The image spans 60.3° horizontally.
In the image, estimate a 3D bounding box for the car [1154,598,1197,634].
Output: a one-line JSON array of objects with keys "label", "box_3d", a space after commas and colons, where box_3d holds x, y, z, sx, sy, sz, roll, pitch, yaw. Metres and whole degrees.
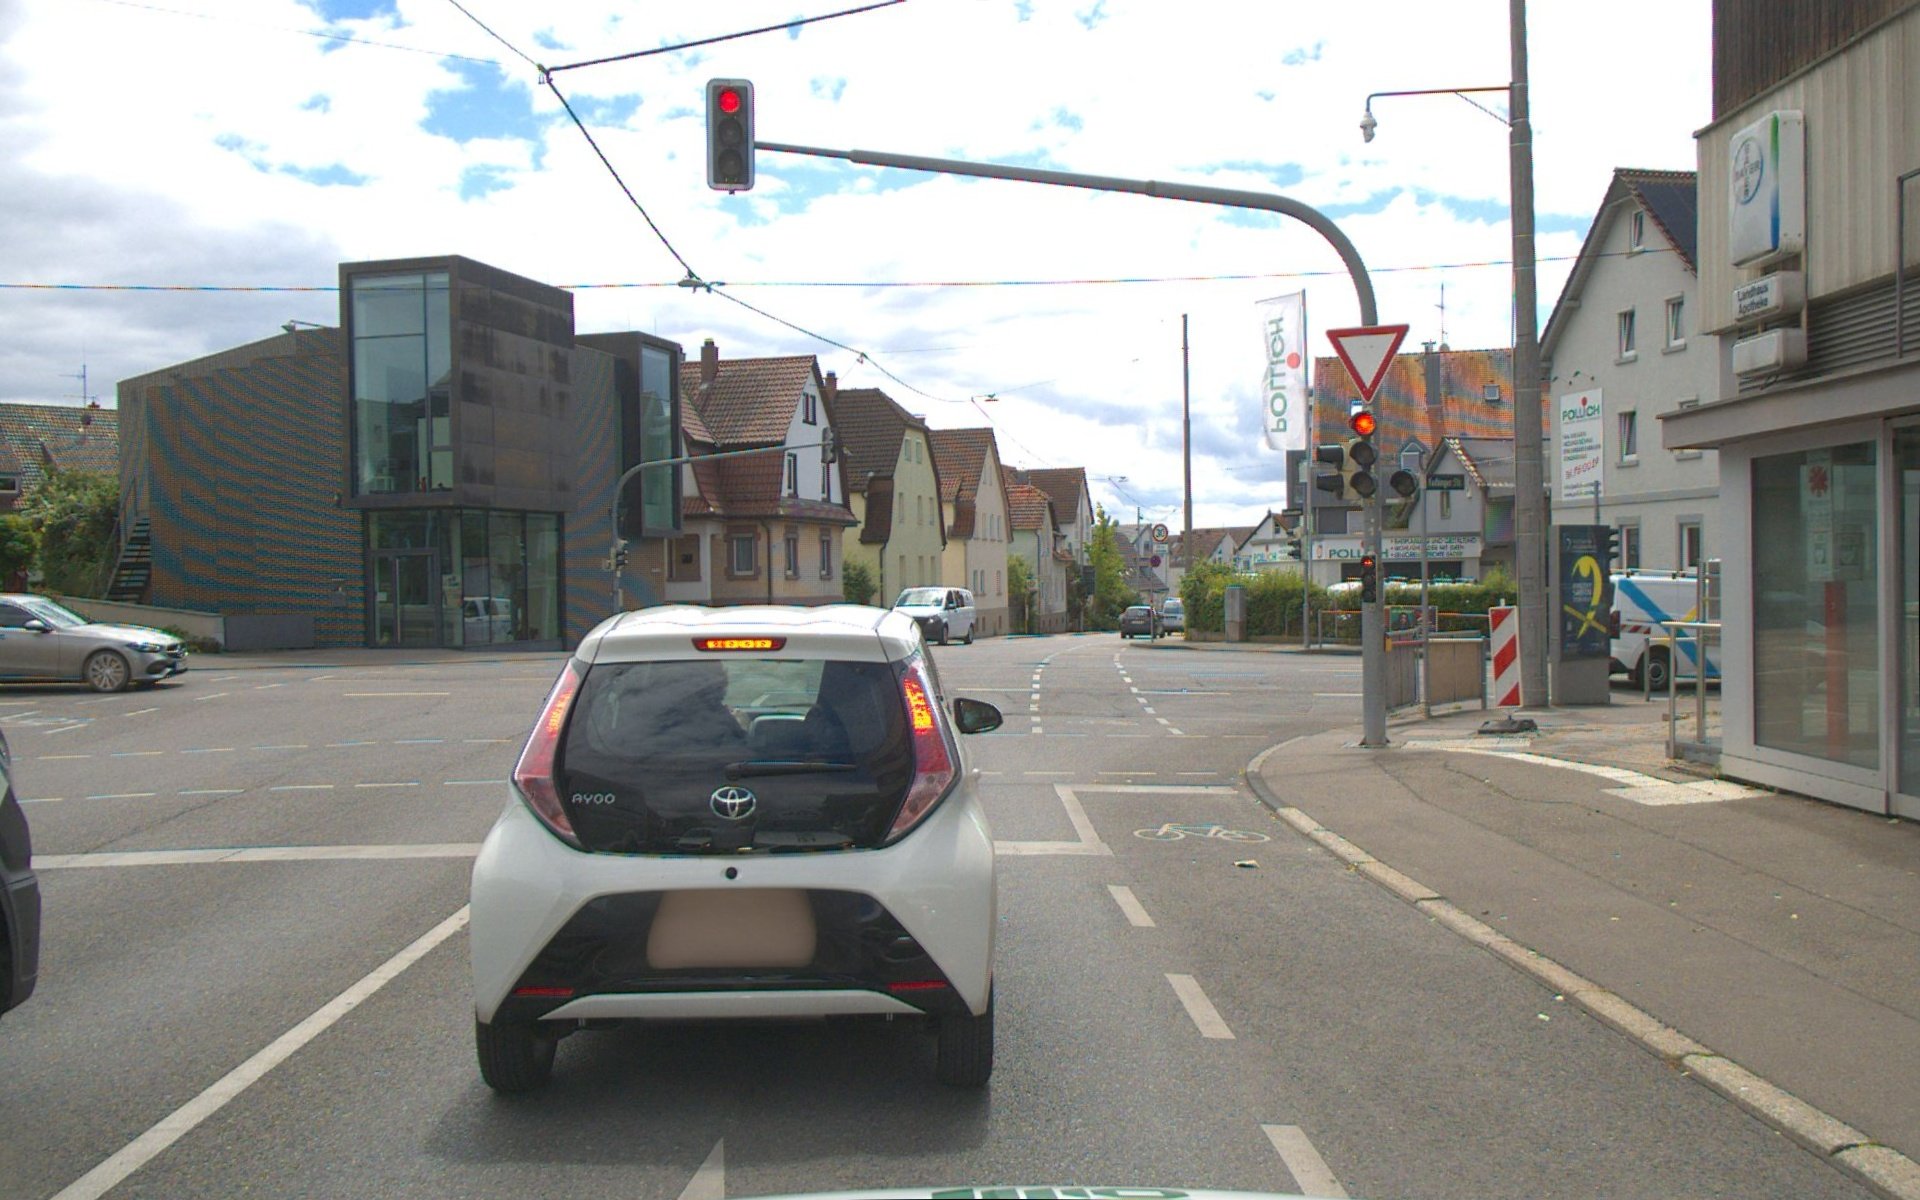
[{"label": "car", "box_3d": [11.511, 0.829, 88.171, 1.951, 1.881, 4.076, 1, 0, 12]}]

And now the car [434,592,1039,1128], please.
[{"label": "car", "box_3d": [-0.688, 0.728, 6.269, 1.663, 1.482, 3.297, 1, 0, -3]}]

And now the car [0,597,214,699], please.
[{"label": "car", "box_3d": [-14.206, 0.715, 25.647, 4.416, 1.481, 1.894, 1, 0, -8]}]

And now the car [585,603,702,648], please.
[{"label": "car", "box_3d": [-10.807, 0.855, 56.584, 3.537, 1.444, 1.693, 1, 0, 11]}]

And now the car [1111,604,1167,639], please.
[{"label": "car", "box_3d": [8.287, 0.978, 76.245, 1.951, 1.512, 4.003, 1, 0, 15]}]

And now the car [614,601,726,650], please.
[{"label": "car", "box_3d": [-10.269, 0.887, 58.715, 3.537, 1.633, 1.693, 1, 0, 11]}]

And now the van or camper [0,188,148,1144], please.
[{"label": "van or camper", "box_3d": [-3.560, 0.171, 2.378, 1.984, 2.625, 5.919, -2, -1, -2]}]

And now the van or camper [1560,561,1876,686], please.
[{"label": "van or camper", "box_3d": [13.849, 0.434, 30.318, 5.024, 2.113, 1.995, 1, 0, -10]}]

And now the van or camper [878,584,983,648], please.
[{"label": "van or camper", "box_3d": [-0.886, 0.493, 53.795, 2.070, 1.959, 5.289, 1, 0, 14]}]
